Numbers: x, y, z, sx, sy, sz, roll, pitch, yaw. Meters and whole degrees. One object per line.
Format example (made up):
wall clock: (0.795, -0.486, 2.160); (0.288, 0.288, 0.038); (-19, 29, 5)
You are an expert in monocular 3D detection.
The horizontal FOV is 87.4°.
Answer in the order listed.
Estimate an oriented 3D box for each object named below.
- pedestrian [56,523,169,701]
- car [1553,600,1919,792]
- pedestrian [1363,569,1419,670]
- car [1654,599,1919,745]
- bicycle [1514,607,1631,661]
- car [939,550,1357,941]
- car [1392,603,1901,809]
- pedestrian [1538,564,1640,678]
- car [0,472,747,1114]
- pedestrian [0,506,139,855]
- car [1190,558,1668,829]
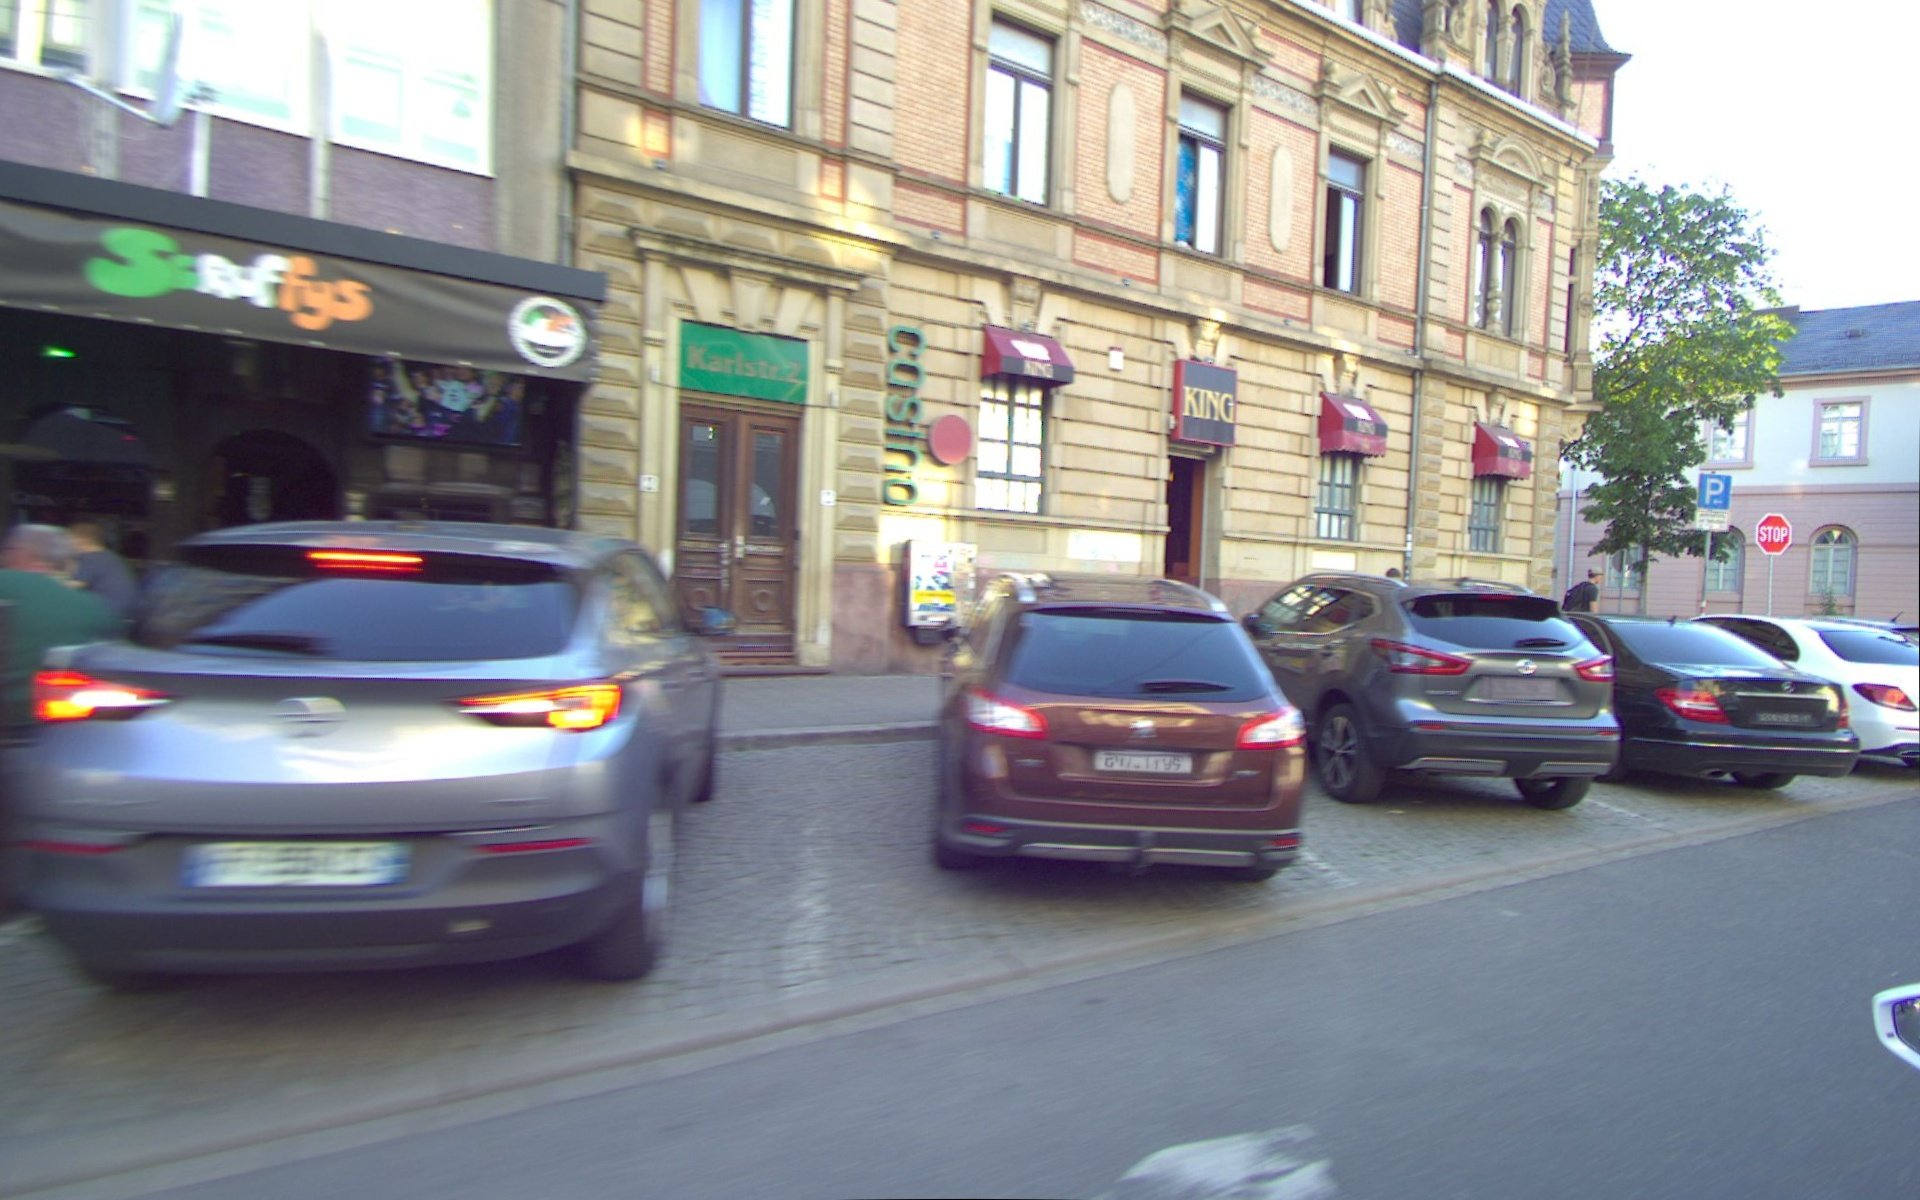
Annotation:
pedestrian: (-6.641, 0.088, 7.897); (0.569, 1.326, 0.570); (1, 1, -30)
car: (9.095, 0.895, 11.426); (1.735, 1.532, 4.626); (2, 2, -3)
pedestrian: (7.158, 0.314, 16.680); (0.515, 1.630, 0.574); (1, 3, -30)
car: (12.033, 0.892, 13.998); (1.708, 1.481, 3.858); (2, 4, -6)
bicycle: (16.537, 0.887, 27.208); (0.838, 1.284, 2.544); (0, 2, -38)
car: (0.782, 0.575, 6.323); (1.677, 1.569, 4.296); (2, 1, 0)
car: (6.043, 0.805, 9.594); (1.678, 1.467, 4.248); (1, 0, -5)
pedestrian: (10.158, 0.311, 16.267); (1.242, 1.762, 0.850); (1, 2, 24)
car: (-2.048, 0.440, 4.678); (1.820, 1.650, 4.044); (2, 2, -9)
pedestrian: (-4.072, 0.327, 4.384); (0.668, 1.435, 0.571); (1, 1, -31)
car: (3.411, 0.576, 8.298); (1.759, 1.679, 4.047); (1, 1, -5)
